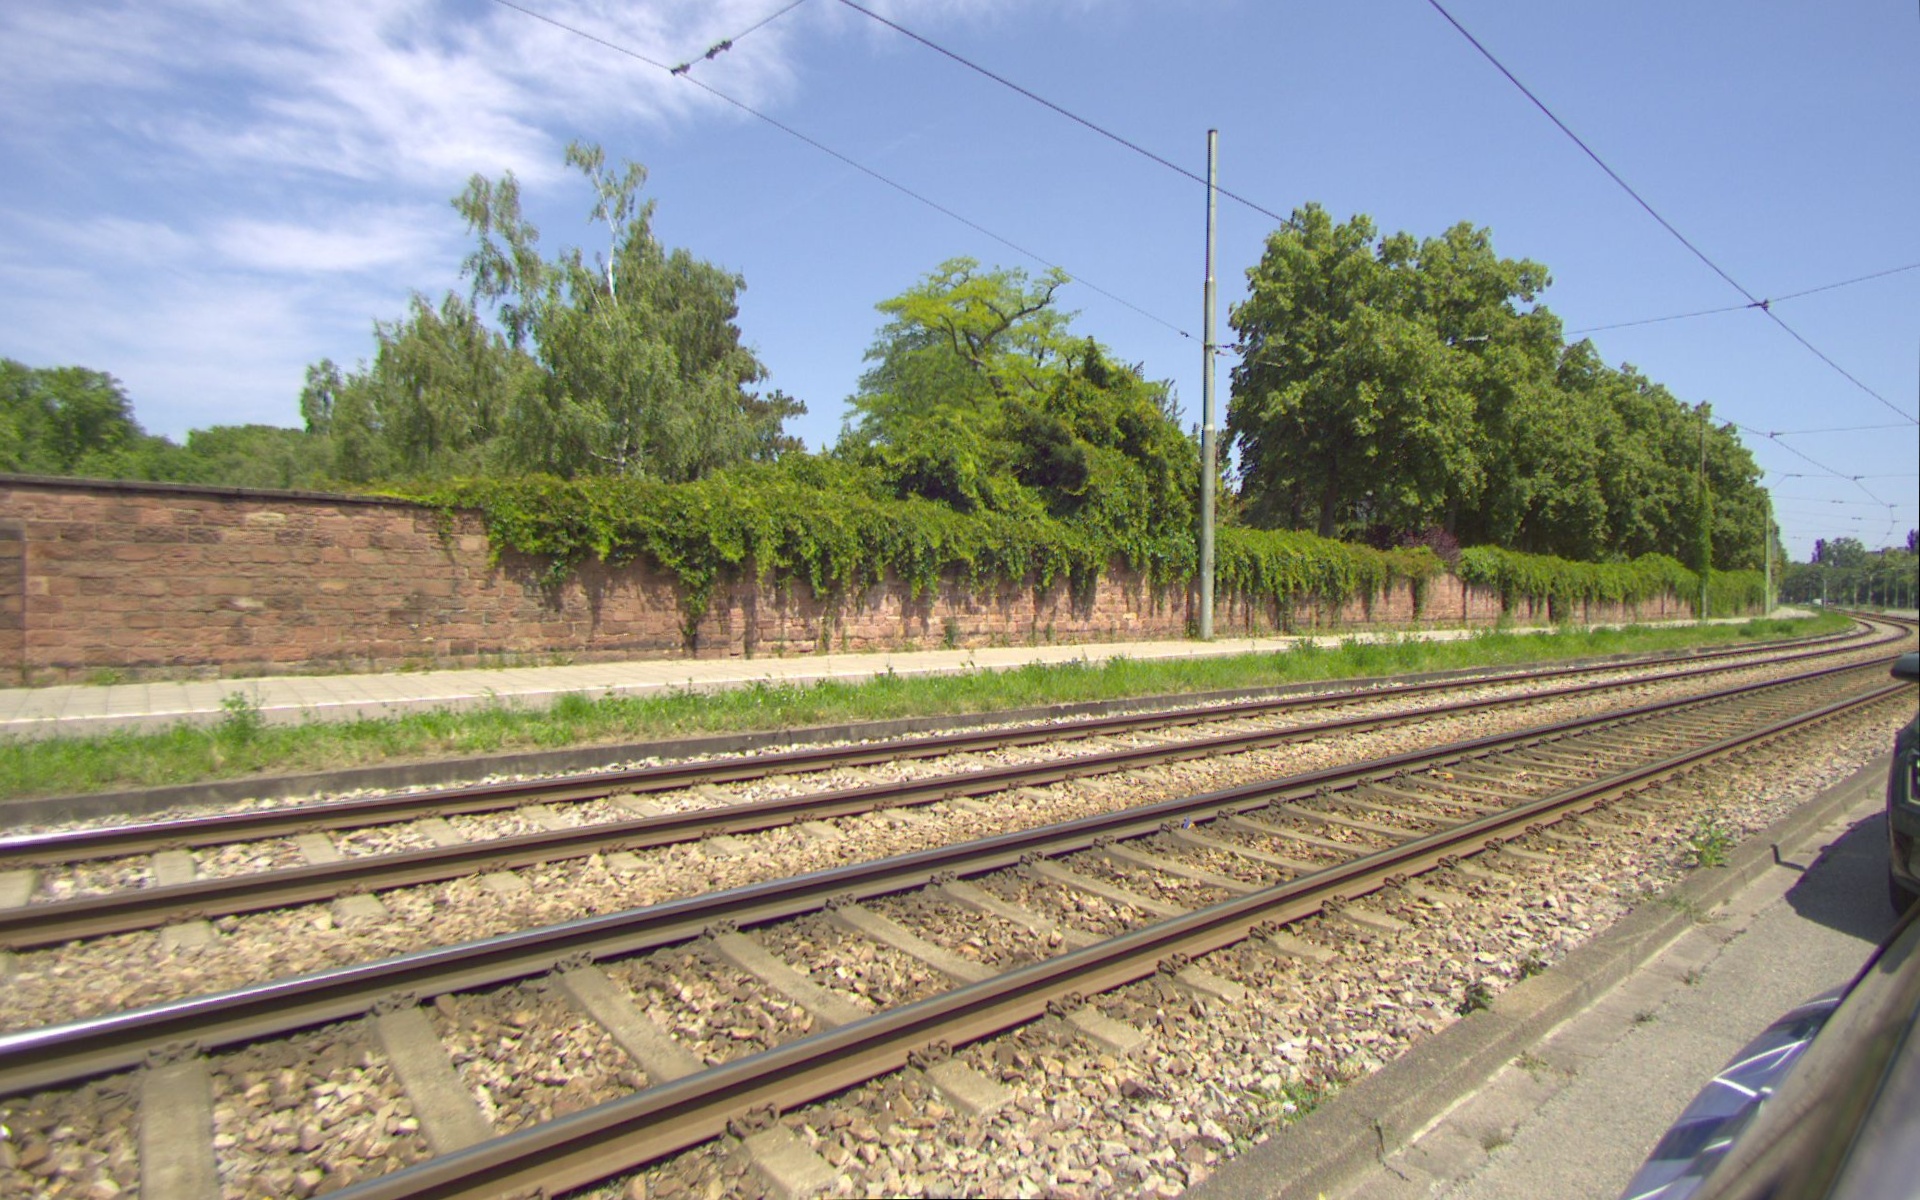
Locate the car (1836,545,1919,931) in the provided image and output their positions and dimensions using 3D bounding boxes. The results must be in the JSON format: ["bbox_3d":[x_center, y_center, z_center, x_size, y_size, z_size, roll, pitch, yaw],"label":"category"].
[{"bbox_3d":[5.893,0.572,4.717,3.927,1.562,2.062,0,0,-38],"label":"car"}]
